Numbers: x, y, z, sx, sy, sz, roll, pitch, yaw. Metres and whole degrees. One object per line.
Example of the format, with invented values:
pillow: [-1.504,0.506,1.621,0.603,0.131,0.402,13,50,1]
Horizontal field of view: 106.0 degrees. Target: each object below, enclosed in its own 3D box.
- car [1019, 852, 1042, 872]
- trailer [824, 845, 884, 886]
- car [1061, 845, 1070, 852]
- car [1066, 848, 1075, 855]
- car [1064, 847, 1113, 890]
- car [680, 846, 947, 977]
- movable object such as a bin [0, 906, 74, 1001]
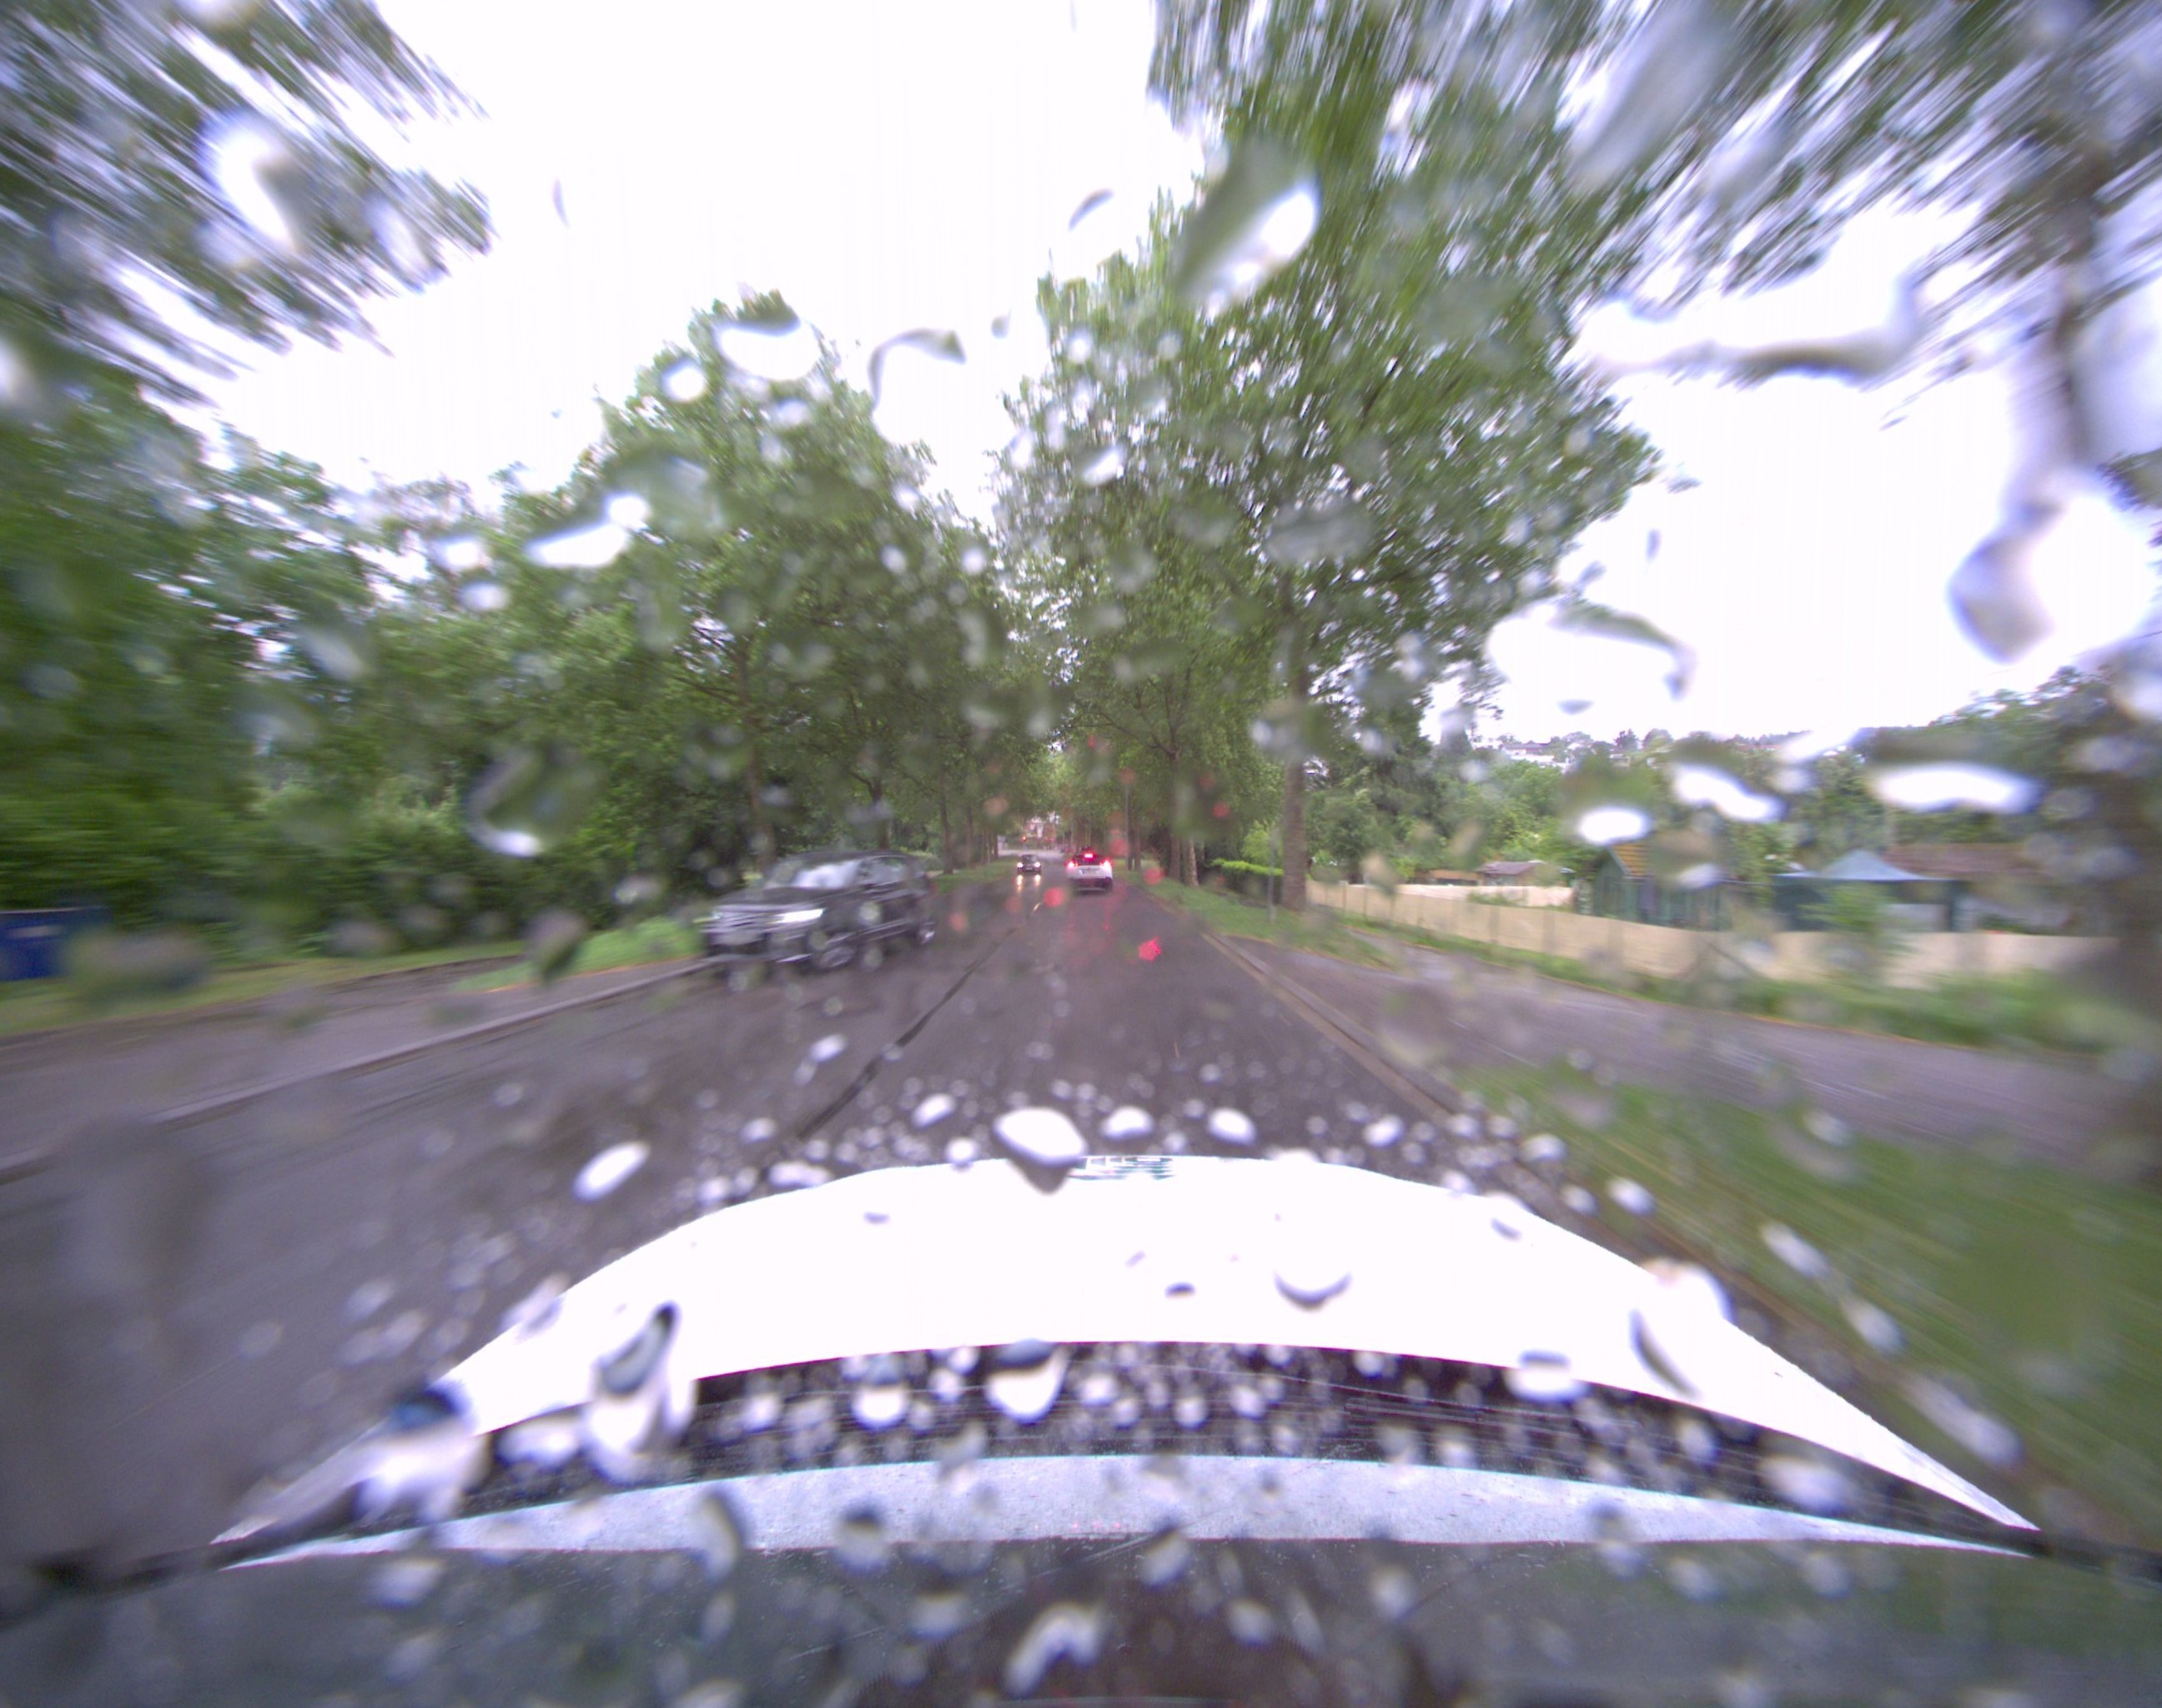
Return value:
car: [-3.770,0.581,61.268,1.703,1.486,3.876,0,0,-3]
trailer: [-15.010,0.707,54.154,2.477,2.567,5.331,0,0,-1]
car: [-3.617,-1.206,190.657,1.820,1.596,3.655,0,0,1]
car: [-2.296,-0.543,181.204,1.820,1.596,3.655,0,0,1]
car: [0.321,0.512,31.620,1.787,1.578,3.846,0,1,2]
car: [-3.665,0.682,12.118,1.719,1.588,4.327,0,0,14]
movable object such as a bin: [-17.542,1.599,13.302,0.960,1.422,0.966,0,0,-1]
